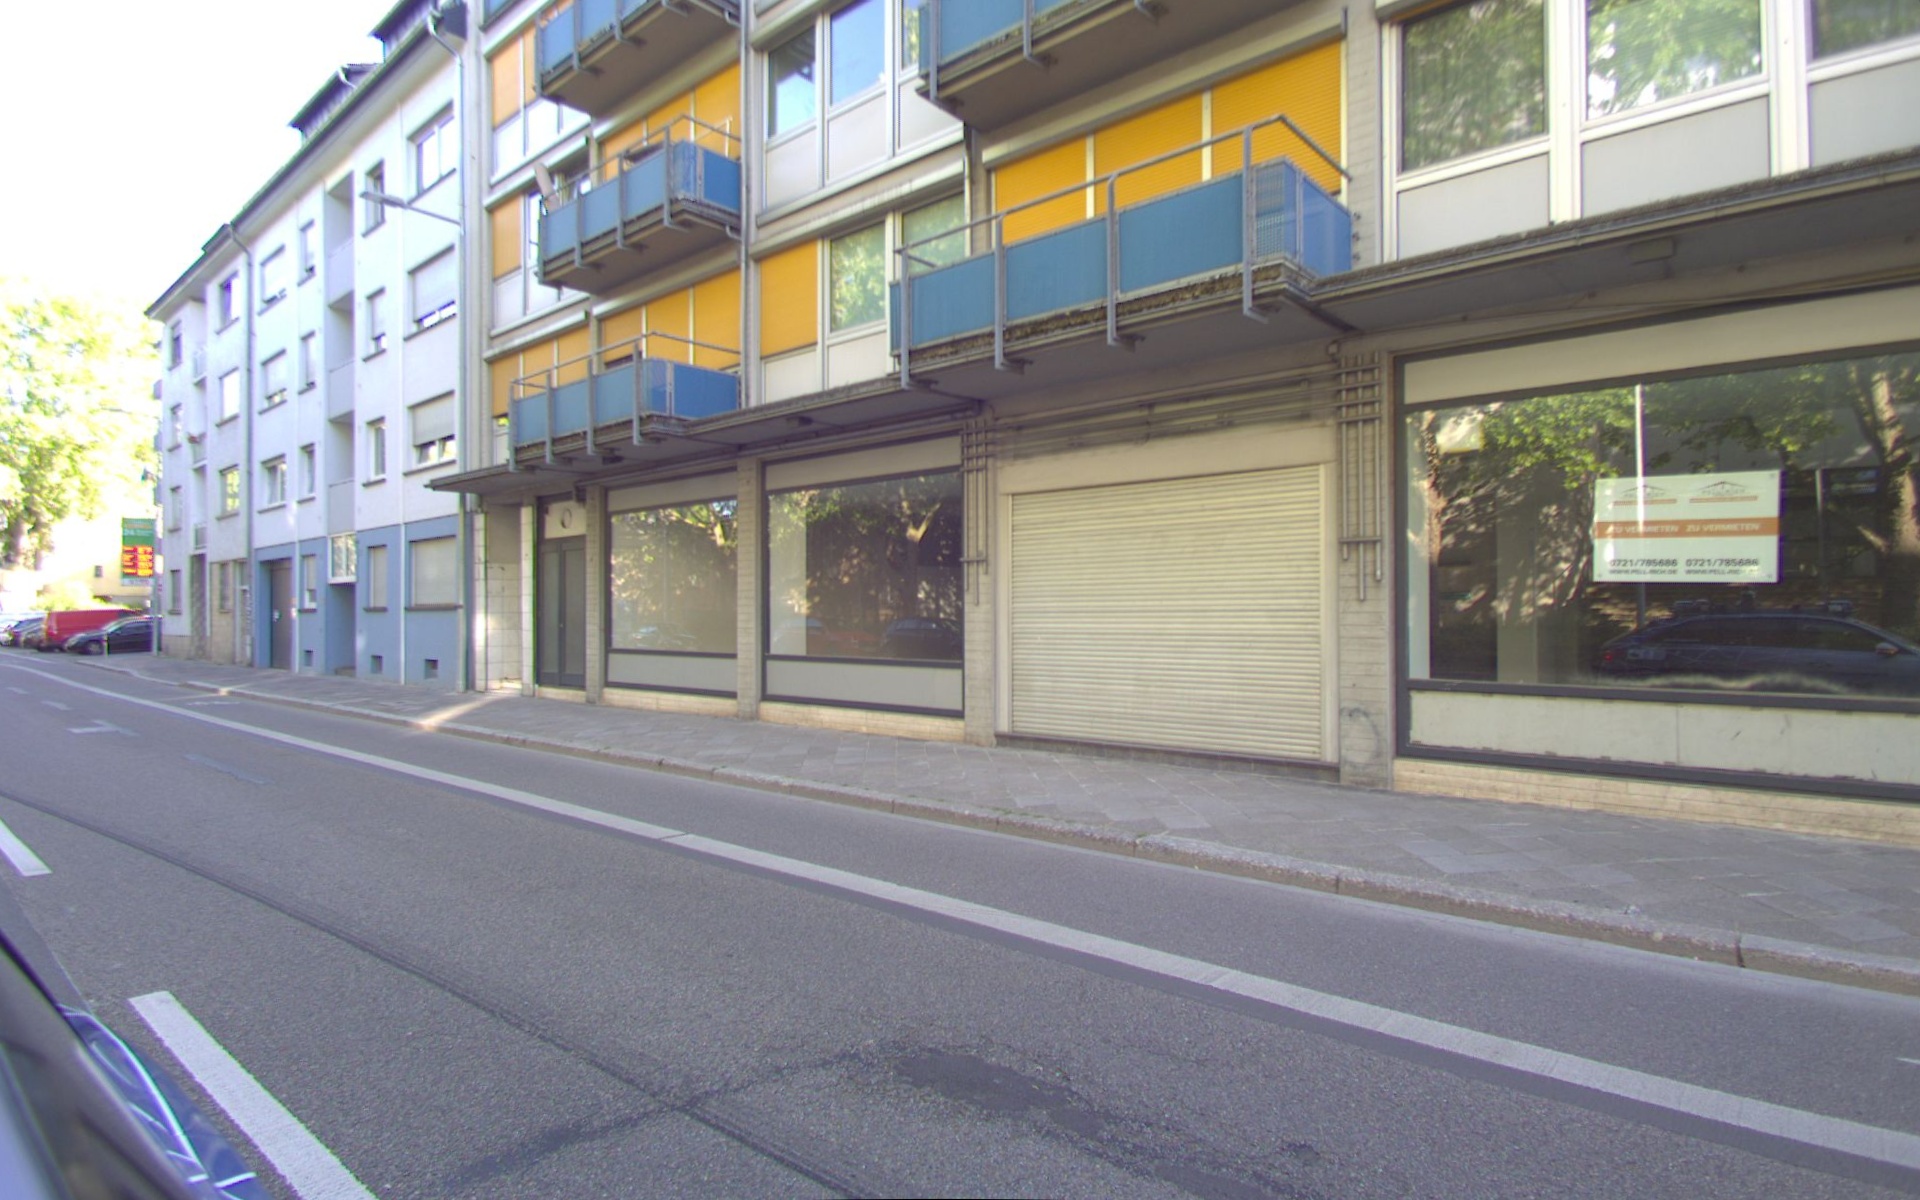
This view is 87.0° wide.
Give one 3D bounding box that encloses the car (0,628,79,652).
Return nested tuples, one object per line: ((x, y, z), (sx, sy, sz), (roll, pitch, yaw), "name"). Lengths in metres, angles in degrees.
((-52.262, 2.244, 57.491), (1.345, 1.254, 3.228), (-1, 0, 43), "car")

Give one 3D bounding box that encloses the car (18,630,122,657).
((-42.816, 2.068, 48.726), (1.345, 1.137, 3.638), (-1, 0, 42), "car")

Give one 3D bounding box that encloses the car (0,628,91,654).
((-50.448, 2.236, 55.862), (1.345, 1.254, 3.638), (-1, 0, 42), "car")

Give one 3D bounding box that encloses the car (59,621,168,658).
((-38.194, 1.762, 45.712), (1.490, 1.523, 3.638), (-1, 0, 43), "car")

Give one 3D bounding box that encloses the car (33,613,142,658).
((-40.653, 1.642, 47.211), (1.488, 1.923, 3.642), (-4, -2, 39), "car")

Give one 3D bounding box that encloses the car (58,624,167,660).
((-36.677, 1.805, 43.831), (1.490, 1.398, 3.462), (-1, 0, 43), "car")
